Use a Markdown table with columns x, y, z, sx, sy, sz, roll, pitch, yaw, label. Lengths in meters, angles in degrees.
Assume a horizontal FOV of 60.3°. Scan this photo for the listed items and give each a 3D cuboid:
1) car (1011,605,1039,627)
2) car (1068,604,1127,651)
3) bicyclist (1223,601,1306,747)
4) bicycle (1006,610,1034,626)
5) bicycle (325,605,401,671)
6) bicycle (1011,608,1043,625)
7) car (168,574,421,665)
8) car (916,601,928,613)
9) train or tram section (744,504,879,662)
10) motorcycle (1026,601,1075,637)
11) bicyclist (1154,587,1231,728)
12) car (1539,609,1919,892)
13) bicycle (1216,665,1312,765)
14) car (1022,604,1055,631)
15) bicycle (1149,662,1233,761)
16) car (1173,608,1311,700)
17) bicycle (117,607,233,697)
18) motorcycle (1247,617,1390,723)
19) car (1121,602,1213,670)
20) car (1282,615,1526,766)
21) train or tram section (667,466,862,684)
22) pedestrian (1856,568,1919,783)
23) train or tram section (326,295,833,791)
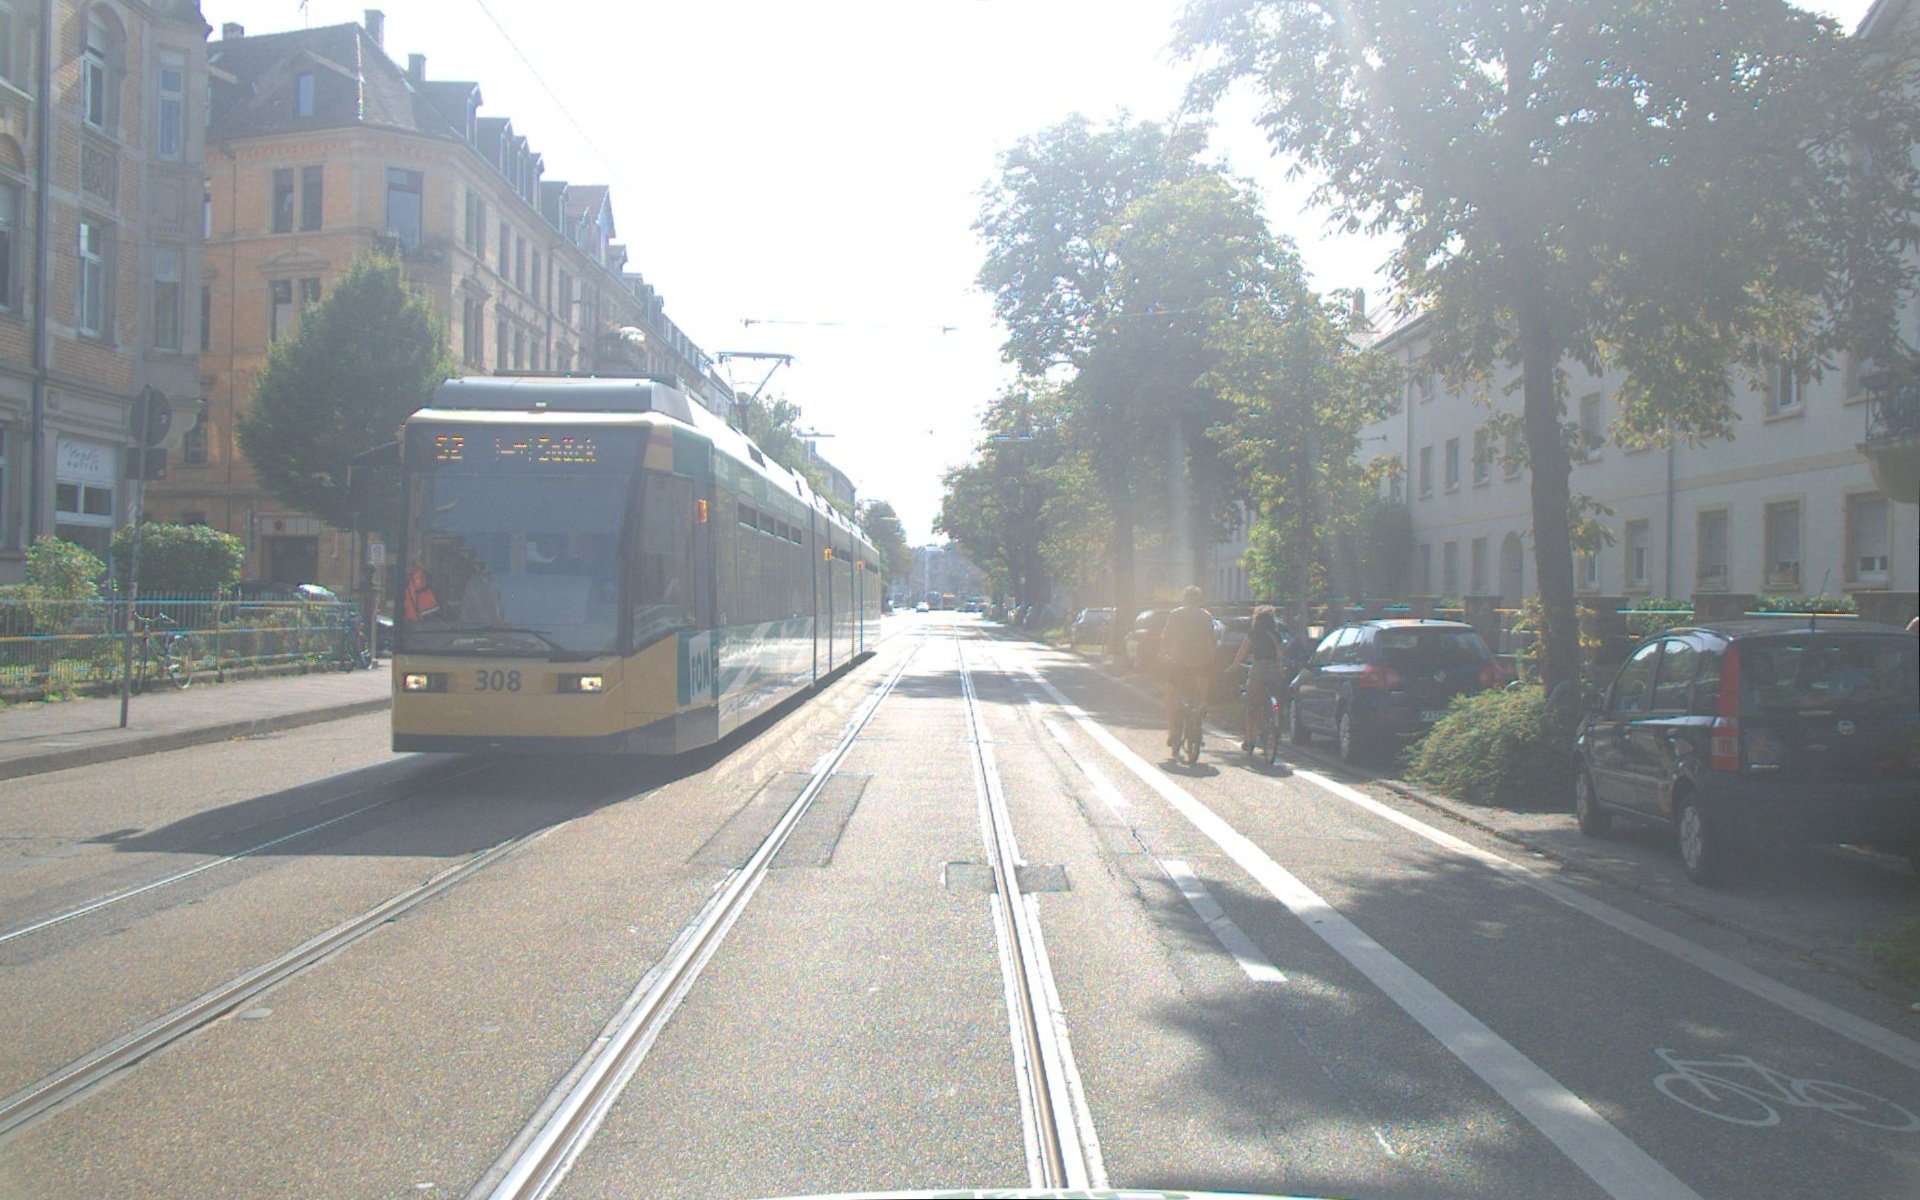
| x | y | z | sx | sy | sz | roll | pitch | yaw | label |
| --- | --- | --- | --- | --- | --- | --- | --- | --- | --- |
| 4.478 | 1.098 | 114.271 | 1.735 | 1.499 | 3.973 | 0 | -1 | 0 | car |
| 4.831 | 0.951 | 58.772 | 1.708 | 1.588 | 4.719 | 0 | 0 | 0 | car |
| 3.275 | 0.777 | 17.833 | 0.641 | 1.499 | 0.908 | 3 | -1 | -1 | bicyclist |
| 4.509 | 1.361 | 124.747 | 2.064 | 1.125 | 0.616 | 0 | 0 | -2 | bicycle |
| -10.385 | 0.644 | 28.836 | 0.534 | 1.076 | 1.840 | 5 | 0 | 1 | bicycle |
| 4.507 | 1.102 | 110.615 | 2.067 | 1.125 | 0.562 | 1 | -1 | -8 | bicycle |
| -12.892 | 0.388 | 32.248 | 4.053 | 1.570 | 2.064 | 2 | -1 | -2 | car |
| -5.764 | 1.038 | 249.121 | 1.691 | 1.666 | 3.984 | 1 | 0 | -1 | car |
| -3.710 | -0.392 | 43.705 | 2.679 | 3.567 | 10.773 | 2 | 0 | -1 | train or tram section |
| 4.434 | 0.926 | 81.417 | 2.379 | 1.703 | 0.907 | -1 | 0 | 44 | motorcycle |
| 2.464 | 0.596 | 17.596 | 0.614 | 1.425 | 0.929 | 3 | 0 | -1 | bicyclist |
| 5.260 | 0.861 | 11.187 | 1.610 | 1.567 | 3.844 | -1 | 0 | 5 | car |
| 3.256 | 1.215 | 17.869 | 0.641 | 0.924 | 1.774 | 3 | 0 | -1 | bicycle |
| 4.578 | 1.047 | 97.247 | 1.691 | 1.531 | 3.984 | -1 | 0 | -1 | car |
| 2.433 | 1.164 | 17.582 | 0.614 | 0.924 | 1.524 | 3 | 0 | -1 | bicycle |
| 4.990 | 0.909 | 29.781 | 1.655 | 1.460 | 4.336 | -2 | 0 | -1 | car |
| -10.322 | 0.662 | 21.811 | 0.534 | 1.076 | 1.840 | 5 | 0 | 1 | bicycle |
| 4.996 | 0.965 | 23.087 | 1.817 | 1.312 | 0.705 | -3 | 5 | -4 | motorcycle |
| 4.957 | 0.844 | 40.065 | 1.655 | 1.528 | 4.095 | -1 | 0 | -1 | car |
| 4.884 | 0.929 | 18.784 | 1.611 | 1.473 | 4.245 | -1 | 0 | 0 | car |
| -3.578 | -0.417 | 32.947 | 2.679 | 3.567 | 10.773 | 2 | 0 | -1 | train or tram section |
| 8.240 | 0.633 | 14.112 | 0.736 | 1.779 | 0.879 | 1 | 0 | 6 | pedestrian |
| -3.378 | -0.415 | 19.857 | 2.679 | 3.567 | 15.429 | 2 | 0 | -1 | train or tram section |
